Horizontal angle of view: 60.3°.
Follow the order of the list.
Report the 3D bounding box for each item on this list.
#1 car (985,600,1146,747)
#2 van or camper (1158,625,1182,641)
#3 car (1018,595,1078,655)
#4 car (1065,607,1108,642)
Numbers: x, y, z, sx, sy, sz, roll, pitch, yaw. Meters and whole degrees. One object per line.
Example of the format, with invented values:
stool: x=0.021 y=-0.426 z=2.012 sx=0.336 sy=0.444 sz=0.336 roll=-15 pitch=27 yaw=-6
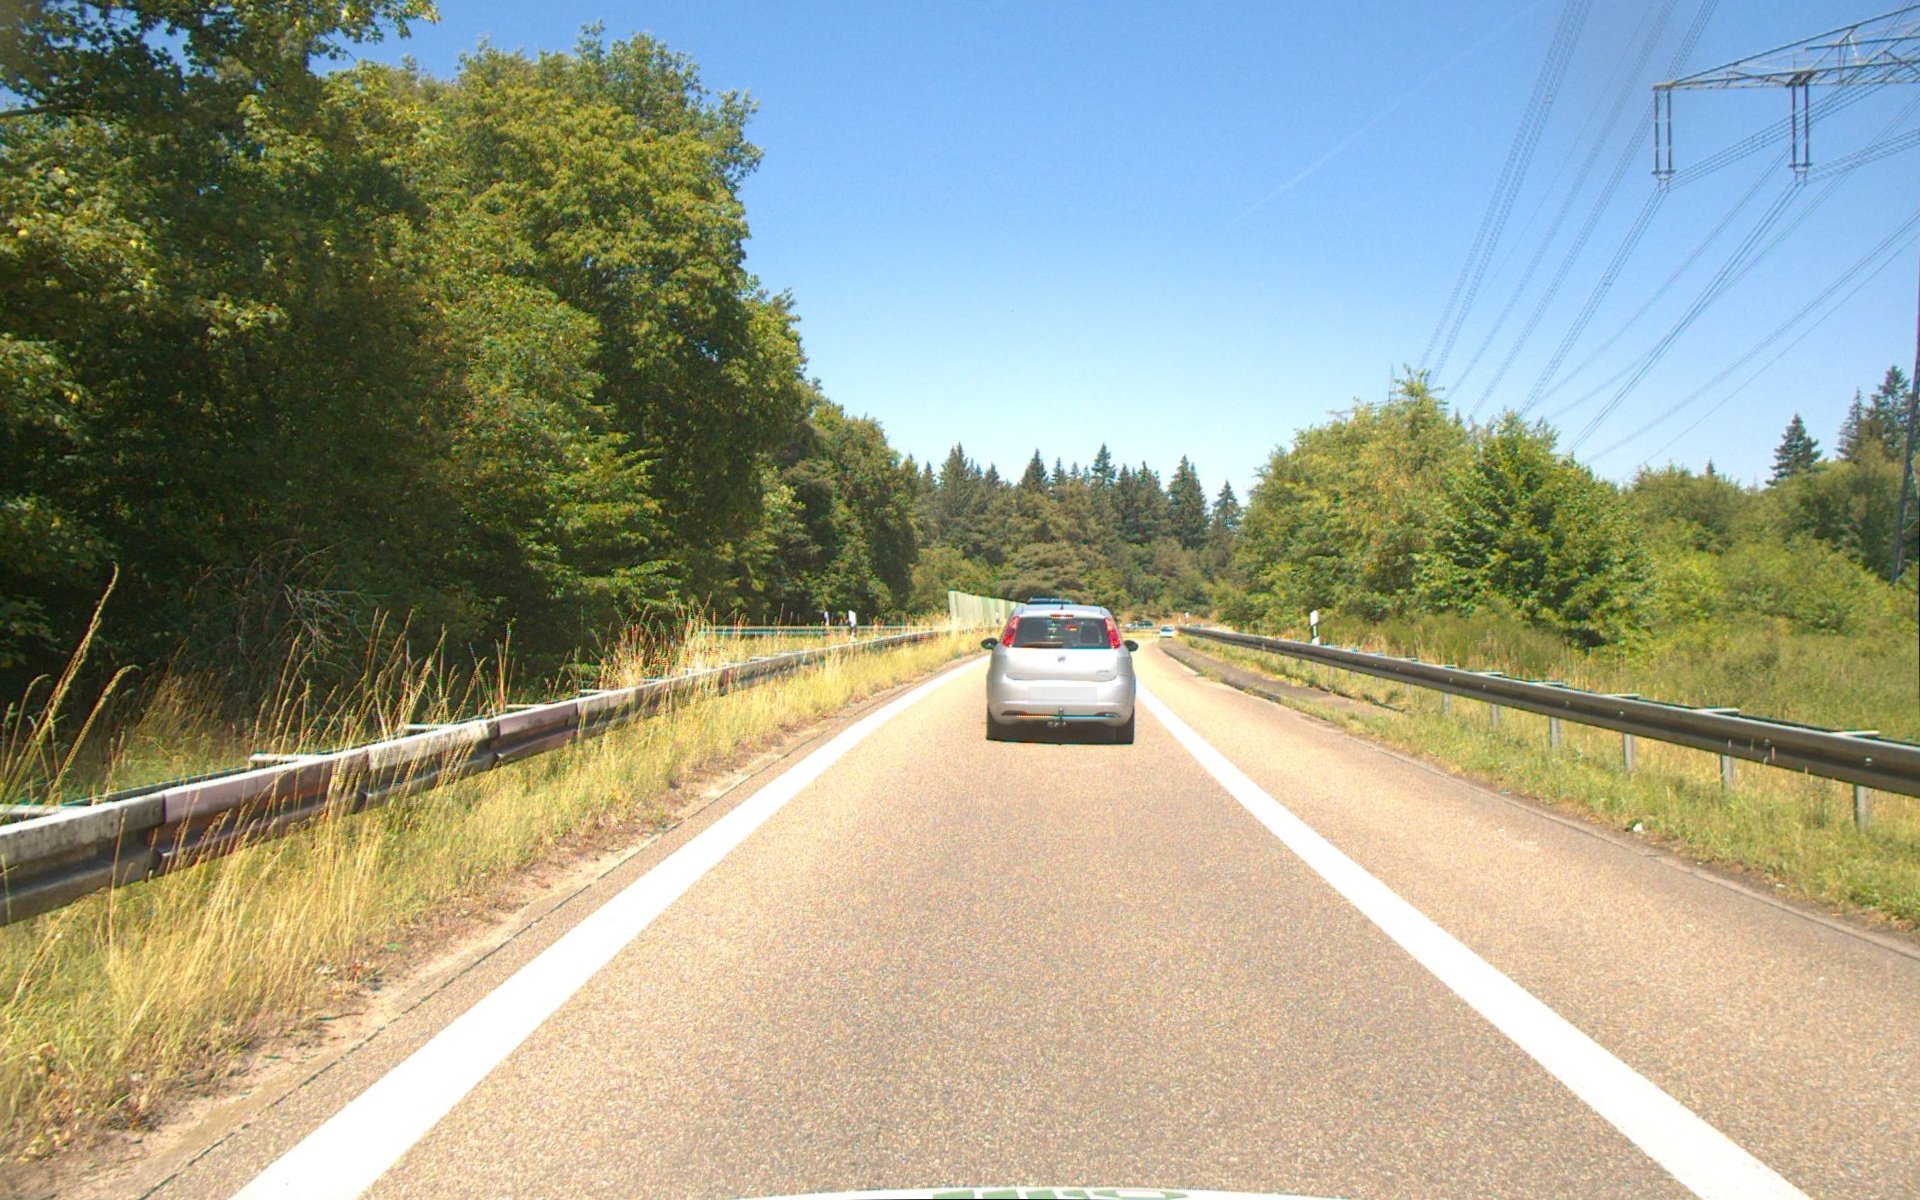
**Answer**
car: x=1.152 y=0.784 z=19.071 sx=1.671 sy=1.508 sz=3.398 roll=1 pitch=0 yaw=1
van or camper: x=21.531 y=3.351 z=169.436 sx=1.769 sy=1.512 sz=4.002 roll=0 pitch=0 yaw=17
car: x=2.618 y=0.731 z=49.756 sx=1.671 sy=1.705 sz=3.398 roll=1 pitch=0 yaw=1
car: x=5.532 y=1.068 z=72.625 sx=1.671 sy=1.473 sz=3.398 roll=1 pitch=0 yaw=1
